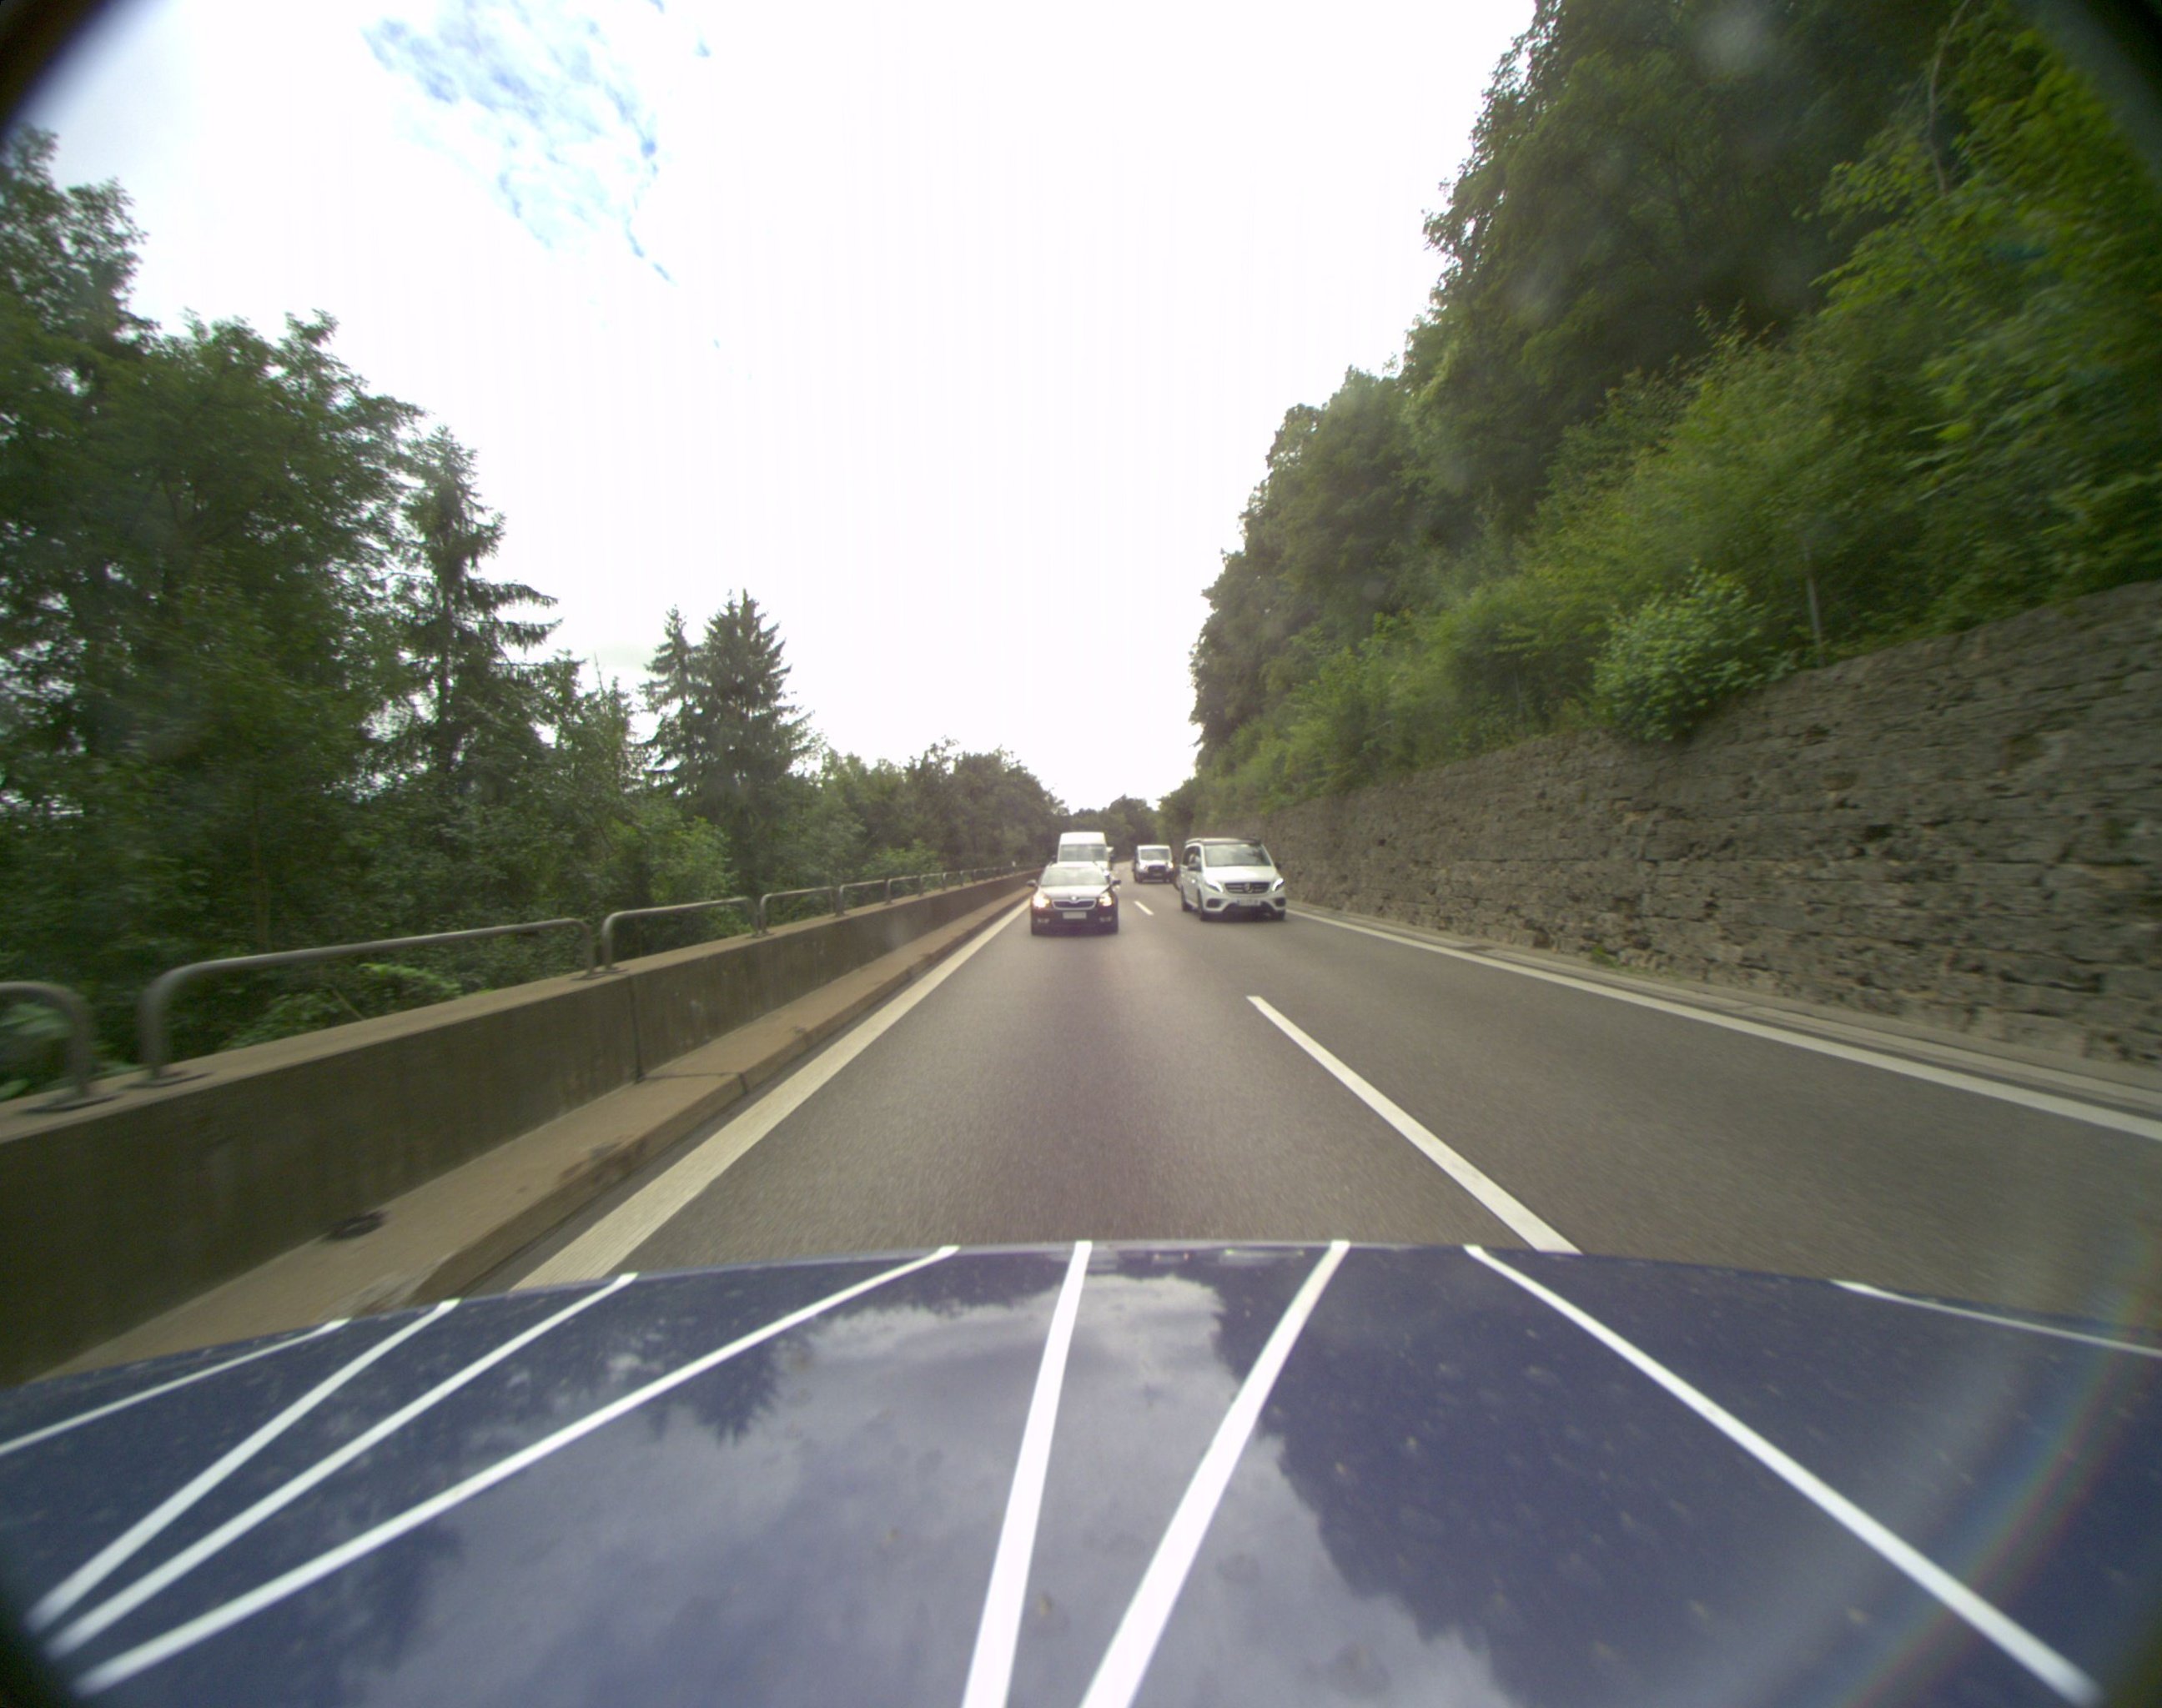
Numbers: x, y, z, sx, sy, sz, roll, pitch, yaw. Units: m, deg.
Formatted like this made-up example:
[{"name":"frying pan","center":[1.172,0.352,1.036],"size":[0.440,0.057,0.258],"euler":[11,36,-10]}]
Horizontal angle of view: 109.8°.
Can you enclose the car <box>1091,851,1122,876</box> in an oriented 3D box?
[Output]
[{"name":"car","center":[2.162,0.774,64.152],"size":[1.997,1.871,4.002],"euler":[-2,1,10]}]

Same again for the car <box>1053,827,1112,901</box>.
[{"name":"car","center":[0.170,0.322,29.929],"size":[1.998,2.550,5.918],"euler":[-1,1,2]}]

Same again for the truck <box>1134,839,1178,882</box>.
[{"name":"truck","center":[4.356,0.360,45.134],"size":[1.998,2.266,6.586],"euler":[-3,0,1]}]

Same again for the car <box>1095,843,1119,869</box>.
[{"name":"car","center":[3.066,0.171,88.250],"size":[2.276,2.941,7.188],"euler":[-1,1,6]}]

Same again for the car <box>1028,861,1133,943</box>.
[{"name":"car","center":[-0.075,0.934,17.213],"size":[1.913,1.391,5.695],"euler":[-3,0,-1]}]

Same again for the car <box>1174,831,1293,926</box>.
[{"name":"car","center":[3.664,0.522,19.440],"size":[1.998,1.941,6.148],"euler":[-3,0,3]}]
